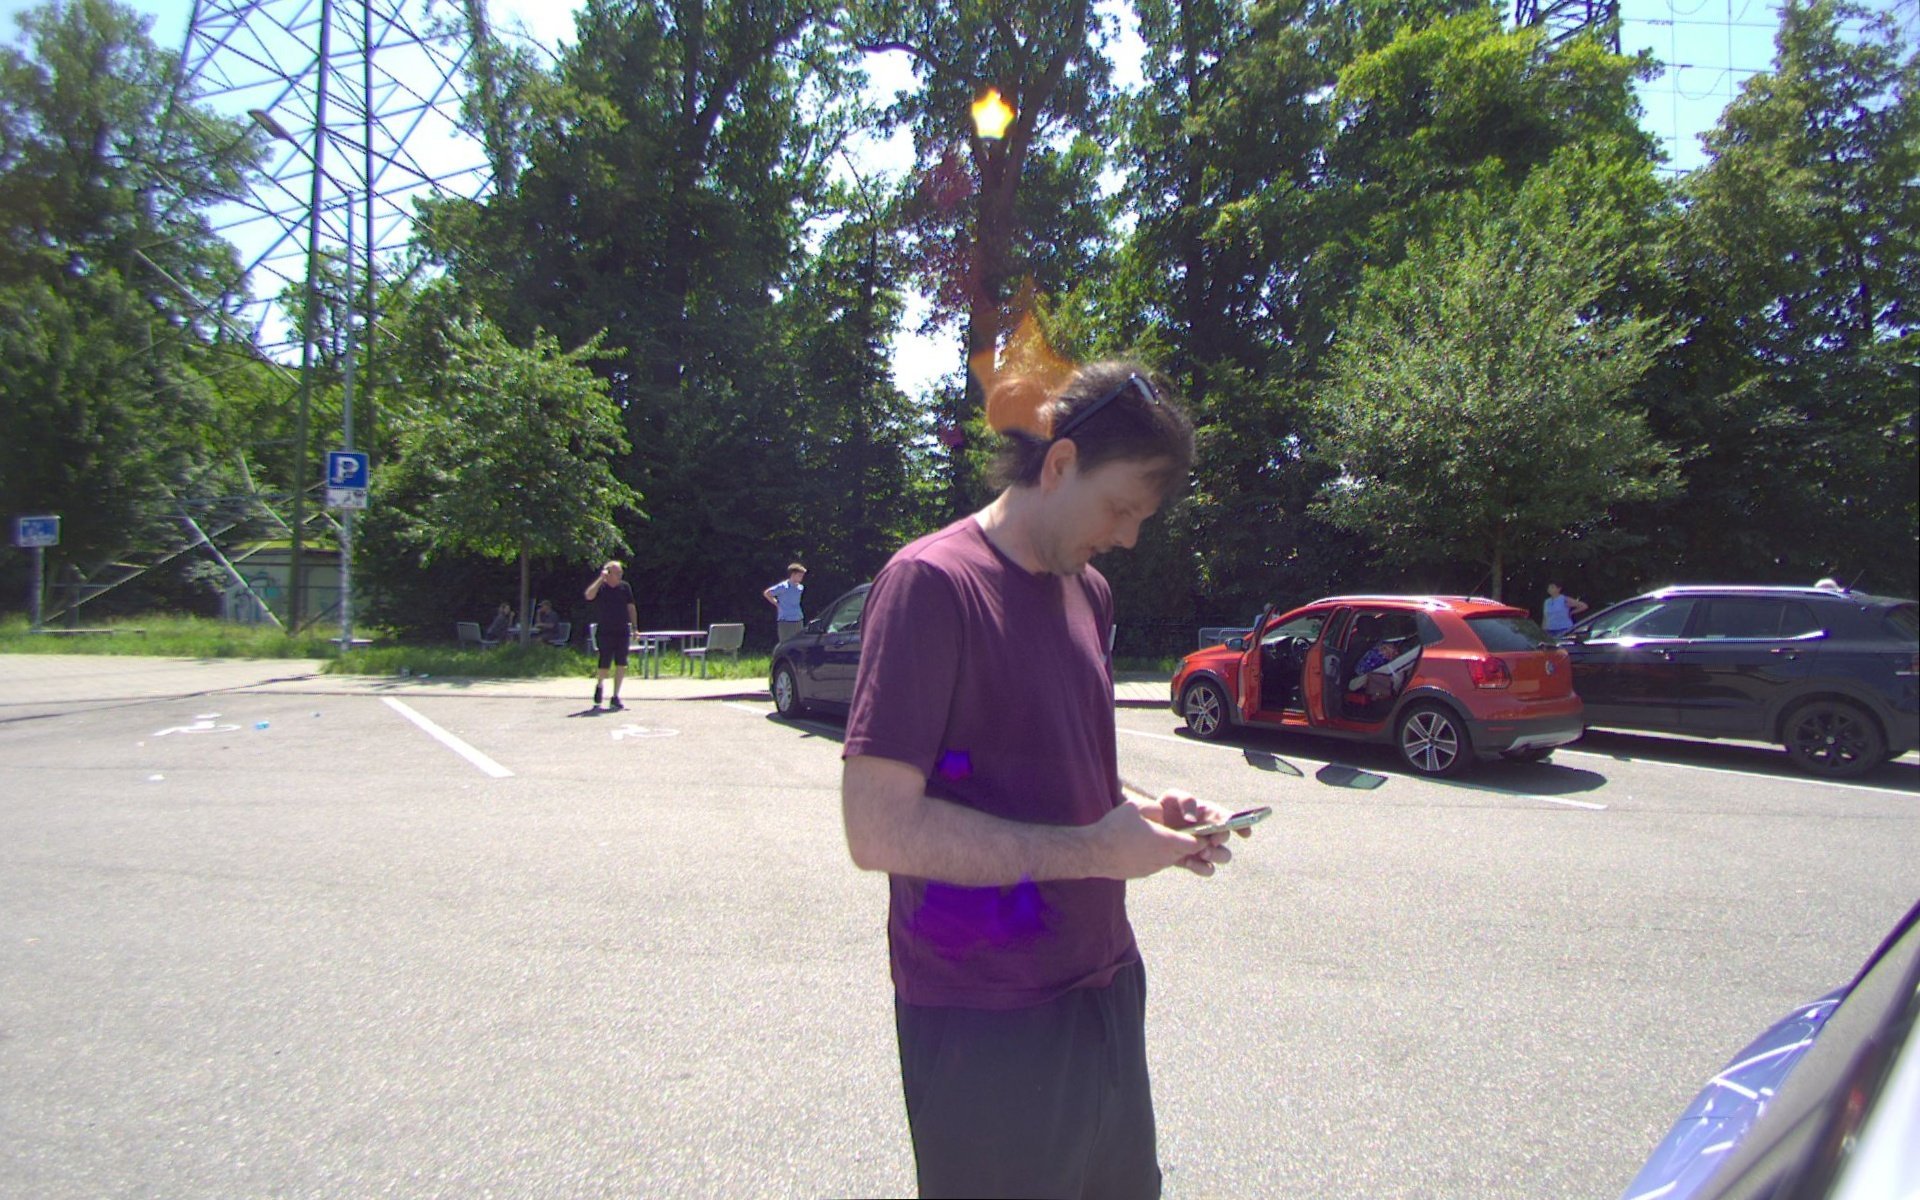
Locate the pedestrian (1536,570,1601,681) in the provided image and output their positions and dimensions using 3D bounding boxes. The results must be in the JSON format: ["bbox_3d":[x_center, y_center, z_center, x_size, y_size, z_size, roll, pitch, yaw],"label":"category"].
[{"bbox_3d":[9.169,0.366,15.243,0.712,1.614,0.797,0,-1,42],"label":"pedestrian"}]

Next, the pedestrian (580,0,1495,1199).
[{"bbox_3d":[0.122,0.455,1.364,0.828,1.797,0.926,0,-1,45],"label":"pedestrian"}]

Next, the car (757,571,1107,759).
[{"bbox_3d":[-0.488,0.544,10.700,1.809,1.588,4.017,1,0,-35],"label":"car"}]

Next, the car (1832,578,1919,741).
[{"bbox_3d":[10.925,0.600,9.388,1.745,1.612,3.972,1,0,-32],"label":"car"}]

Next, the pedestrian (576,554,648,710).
[{"bbox_3d":[-4.352,0.383,12.633,0.701,1.851,0.906,1,-1,-28],"label":"pedestrian"}]

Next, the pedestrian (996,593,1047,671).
[{"bbox_3d":[1.038,0.538,17.187,0.656,1.285,0.655,1,-1,-17],"label":"pedestrian"}]

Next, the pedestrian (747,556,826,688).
[{"bbox_3d":[-2.443,0.300,14.261,0.786,1.784,0.809,1,-1,-39],"label":"pedestrian"}]

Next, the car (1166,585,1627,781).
[{"bbox_3d":[3.923,0.621,9.652,1.746,1.475,3.710,1,0,-33],"label":"car"}]

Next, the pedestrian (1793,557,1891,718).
[{"bbox_3d":[10.688,0.437,12.289,0.672,1.889,0.710,0,-1,19],"label":"pedestrian"}]

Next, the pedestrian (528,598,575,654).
[{"bbox_3d":[-9.545,0.597,23.637,0.796,1.253,0.713,1,-1,-44],"label":"pedestrian"}]

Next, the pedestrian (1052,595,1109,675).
[{"bbox_3d":[2.020,0.580,17.007,0.656,1.311,0.832,1,-1,-17],"label":"pedestrian"}]

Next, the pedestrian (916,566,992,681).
[{"bbox_3d":[-0.094,0.334,14.784,0.794,1.614,0.775,1,-1,-36],"label":"pedestrian"}]

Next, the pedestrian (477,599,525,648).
[{"bbox_3d":[-10.374,0.521,22.881,0.796,1.062,0.714,1,-1,-43],"label":"pedestrian"}]

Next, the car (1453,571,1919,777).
[{"bbox_3d":[7.204,0.576,9.839,1.807,1.612,3.967,1,0,-38],"label":"car"}]
